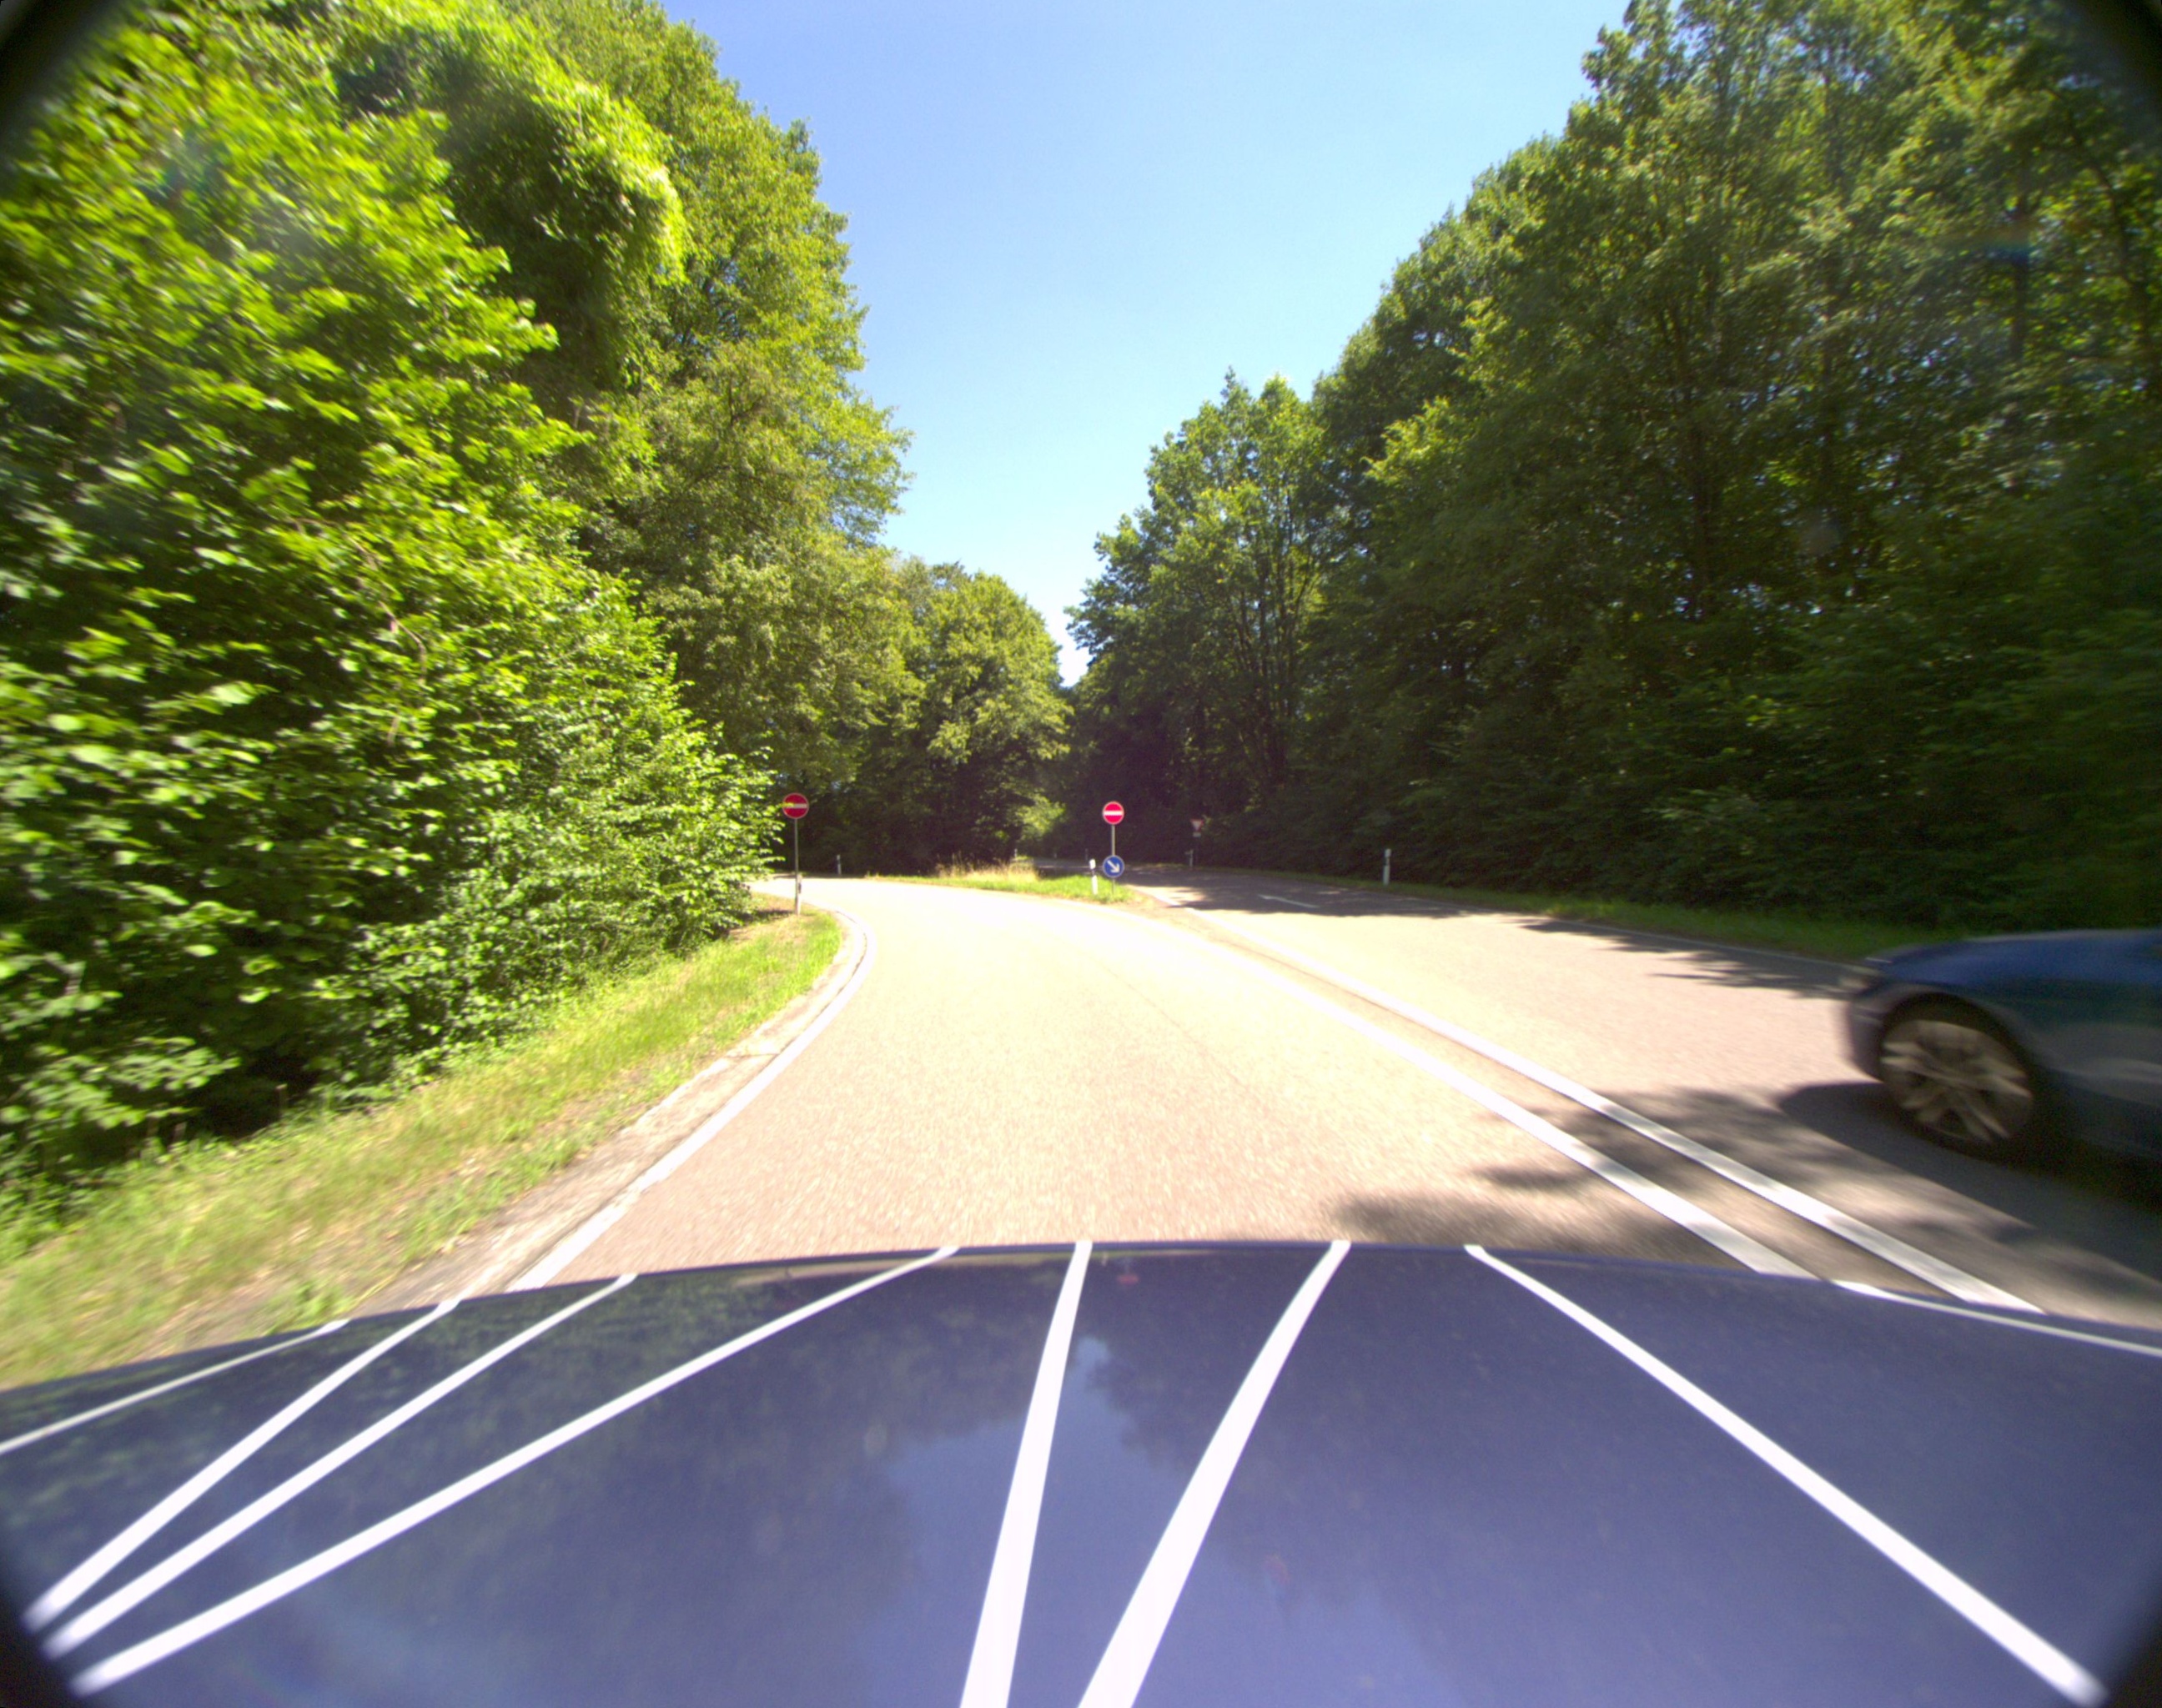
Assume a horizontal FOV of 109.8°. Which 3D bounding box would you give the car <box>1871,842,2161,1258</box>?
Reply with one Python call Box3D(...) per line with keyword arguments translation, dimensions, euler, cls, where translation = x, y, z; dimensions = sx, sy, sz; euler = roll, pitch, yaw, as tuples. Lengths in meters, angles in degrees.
Box3D(translation=(4.486, 0.699, 1.399), dimensions=(1.792, 1.398, 4.362), euler=(-1, 1, 6), cls="car")
